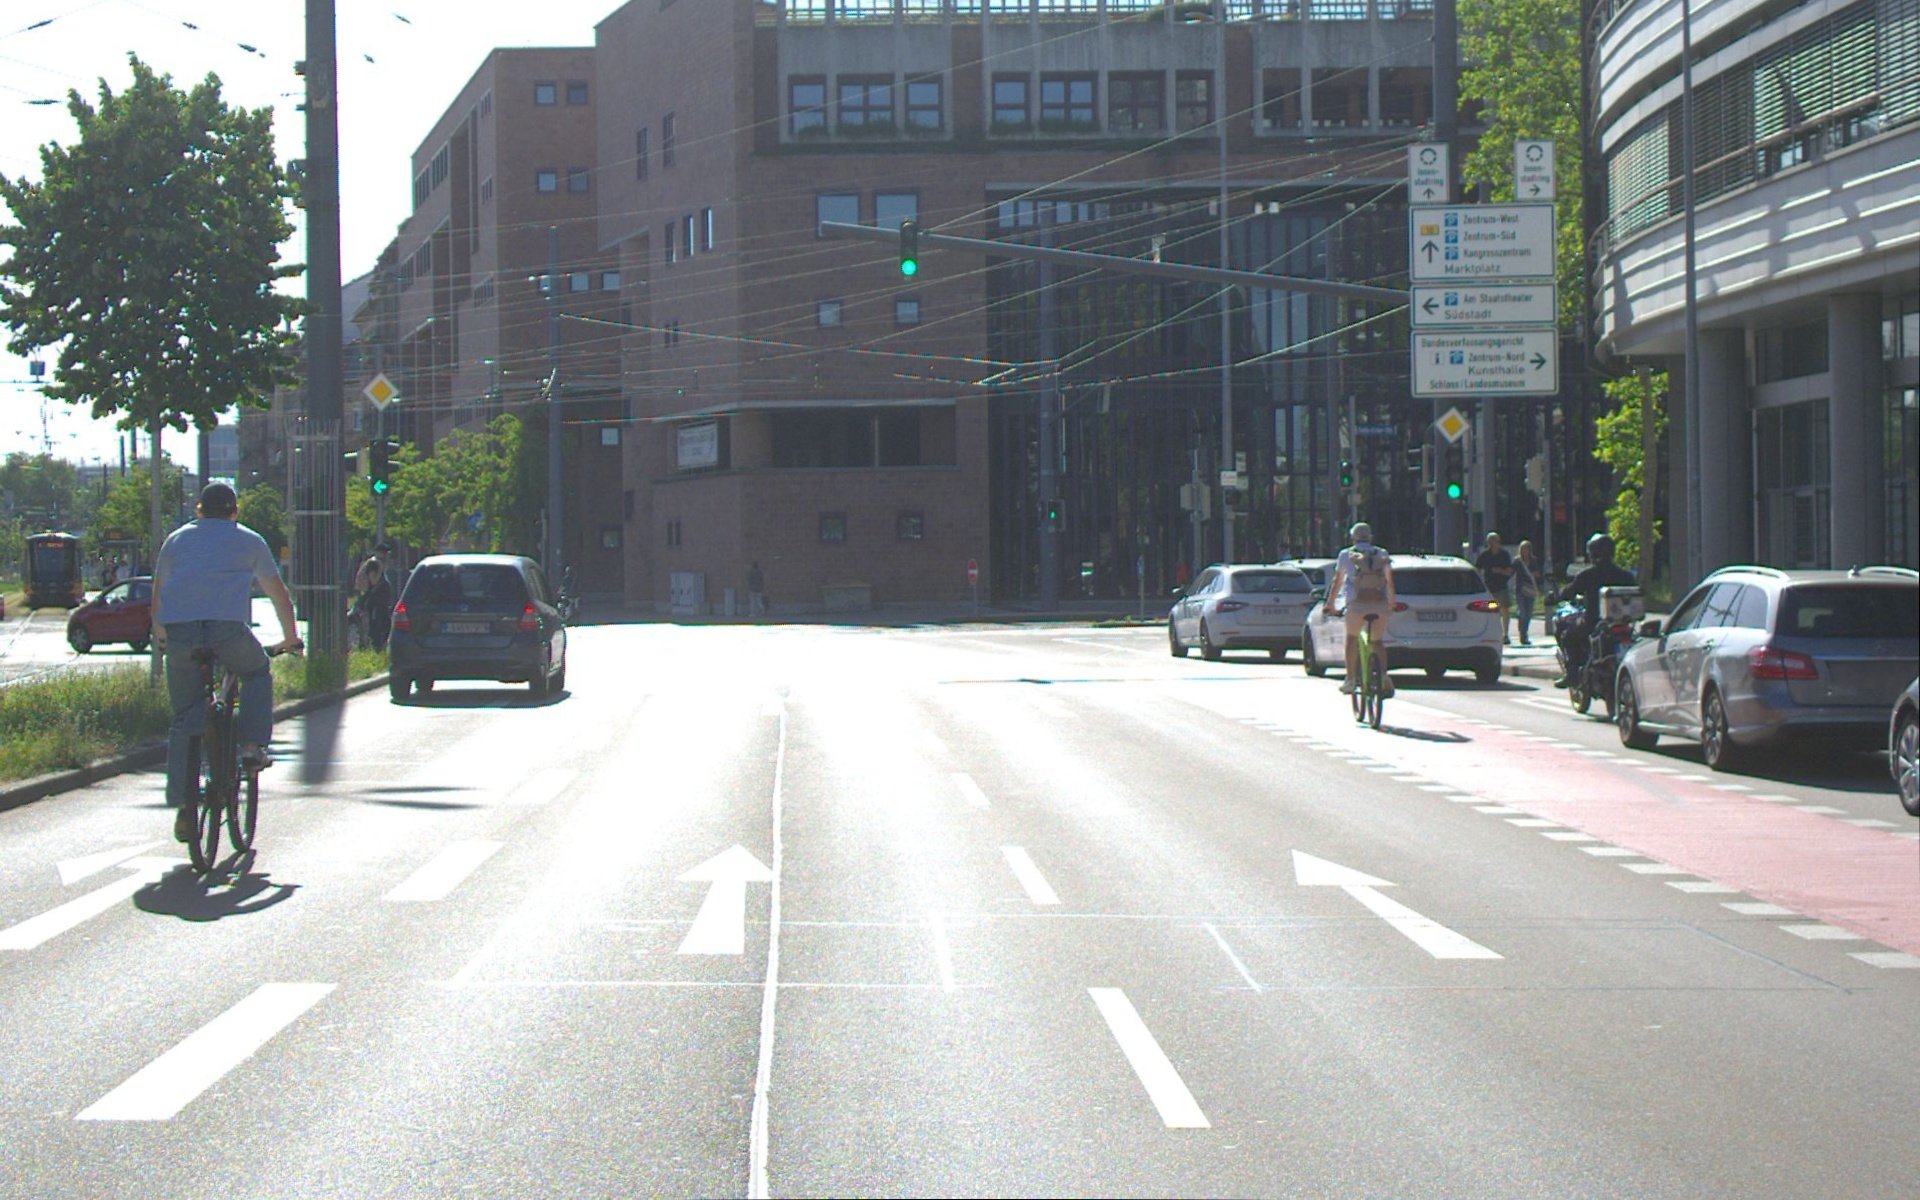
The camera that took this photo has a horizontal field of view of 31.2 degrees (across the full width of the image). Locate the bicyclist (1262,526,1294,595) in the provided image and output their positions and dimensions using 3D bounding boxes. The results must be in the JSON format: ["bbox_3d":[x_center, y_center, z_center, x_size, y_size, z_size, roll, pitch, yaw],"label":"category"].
[{"bbox_3d":[8.760,-1.076,94.657,0.605,1.877,0.651,-1,0,-22],"label":"bicyclist"}]

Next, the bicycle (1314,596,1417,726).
[{"bbox_3d":[3.725,0.544,31.711,0.649,1.106,1.758,-1,2,-3],"label":"bicycle"}]

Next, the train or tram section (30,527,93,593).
[{"bbox_3d":[-42.521,-1.898,162.890,2.326,2.993,13.164,-1,1,-12],"label":"train or tram section"}]

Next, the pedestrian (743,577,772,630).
[{"bbox_3d":[-6.119,0.102,103.709,0.617,1.558,0.987,-1,0,-18],"label":"pedestrian"}]

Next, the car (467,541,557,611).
[{"bbox_3d":[-11.501,-0.645,88.064,1.781,1.697,4.139,1,1,-15],"label":"car"}]

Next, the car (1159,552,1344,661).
[{"bbox_3d":[4.398,0.074,52.466,1.905,1.536,4.139,1,1,-8],"label":"car"}]

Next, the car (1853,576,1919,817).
[{"bbox_3d":[6.629,0.588,19.343,1.721,1.417,4.638,0,1,-4],"label":"car"}]

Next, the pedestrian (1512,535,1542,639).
[{"bbox_3d":[9.090,-0.207,55.104,0.427,1.640,0.562,-2,2,10],"label":"pedestrian"}]

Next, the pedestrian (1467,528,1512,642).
[{"bbox_3d":[8.501,-0.249,55.176,0.638,1.792,0.608,-2,2,10],"label":"pedestrian"}]

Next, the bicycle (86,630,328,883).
[{"bbox_3d":[-3.638,0.717,16.831,0.686,1.066,2.697,1,1,-2],"label":"bicycle"}]

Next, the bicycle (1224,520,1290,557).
[{"bbox_3d":[8.152,-1.685,94.494,1.668,0.991,0.673,-1,0,-23],"label":"bicycle"}]

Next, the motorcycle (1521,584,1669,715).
[{"bbox_3d":[6.012,0.450,32.703,0.829,1.197,2.390,0,0,-3],"label":"motorcycle"}]

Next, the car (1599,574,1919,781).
[{"bbox_3d":[6.295,0.521,26.345,1.721,1.391,4.788,0,1,-2],"label":"car"}]

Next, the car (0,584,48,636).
[{"bbox_3d":[-32.257,0.330,116.657,2.261,1.721,3.946,-1,1,-18],"label":"car"}]

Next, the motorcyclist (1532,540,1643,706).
[{"bbox_3d":[5.964,0.215,32.732,0.829,1.556,0.942,0,0,-3],"label":"motorcyclist"}]

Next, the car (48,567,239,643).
[{"bbox_3d":[-16.015,0.102,67.377,3.580,1.444,1.655,0,1,35],"label":"car"}]

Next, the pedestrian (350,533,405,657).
[{"bbox_3d":[-8.329,-0.078,49.120,0.669,1.747,0.769,-1,1,-15],"label":"pedestrian"}]

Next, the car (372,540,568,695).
[{"bbox_3d":[-5.213,0.157,36.984,1.726,1.558,3.678,-1,1,-3],"label":"car"}]

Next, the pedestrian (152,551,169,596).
[{"bbox_3d":[-29.786,-0.985,128.019,0.538,1.649,0.707,-1,0,-17],"label":"pedestrian"}]

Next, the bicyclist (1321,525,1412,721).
[{"bbox_3d":[3.724,0.196,31.537,0.649,1.746,1.045,-1,1,-3],"label":"bicyclist"}]

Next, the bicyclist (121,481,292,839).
[{"bbox_3d":[-3.621,0.274,16.575,0.617,1.664,1.020,1,1,-2],"label":"bicyclist"}]

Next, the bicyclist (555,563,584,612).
[{"bbox_3d":[-10.711,-0.341,94.298,0.592,1.331,0.933,-1,0,-17],"label":"bicyclist"}]

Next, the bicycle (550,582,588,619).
[{"bbox_3d":[-10.751,0.010,94.443,0.603,0.982,2.315,-1,0,-17],"label":"bicycle"}]

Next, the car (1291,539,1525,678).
[{"bbox_3d":[5.462,0.065,42.394,1.906,1.578,4.139,1,1,-6],"label":"car"}]
